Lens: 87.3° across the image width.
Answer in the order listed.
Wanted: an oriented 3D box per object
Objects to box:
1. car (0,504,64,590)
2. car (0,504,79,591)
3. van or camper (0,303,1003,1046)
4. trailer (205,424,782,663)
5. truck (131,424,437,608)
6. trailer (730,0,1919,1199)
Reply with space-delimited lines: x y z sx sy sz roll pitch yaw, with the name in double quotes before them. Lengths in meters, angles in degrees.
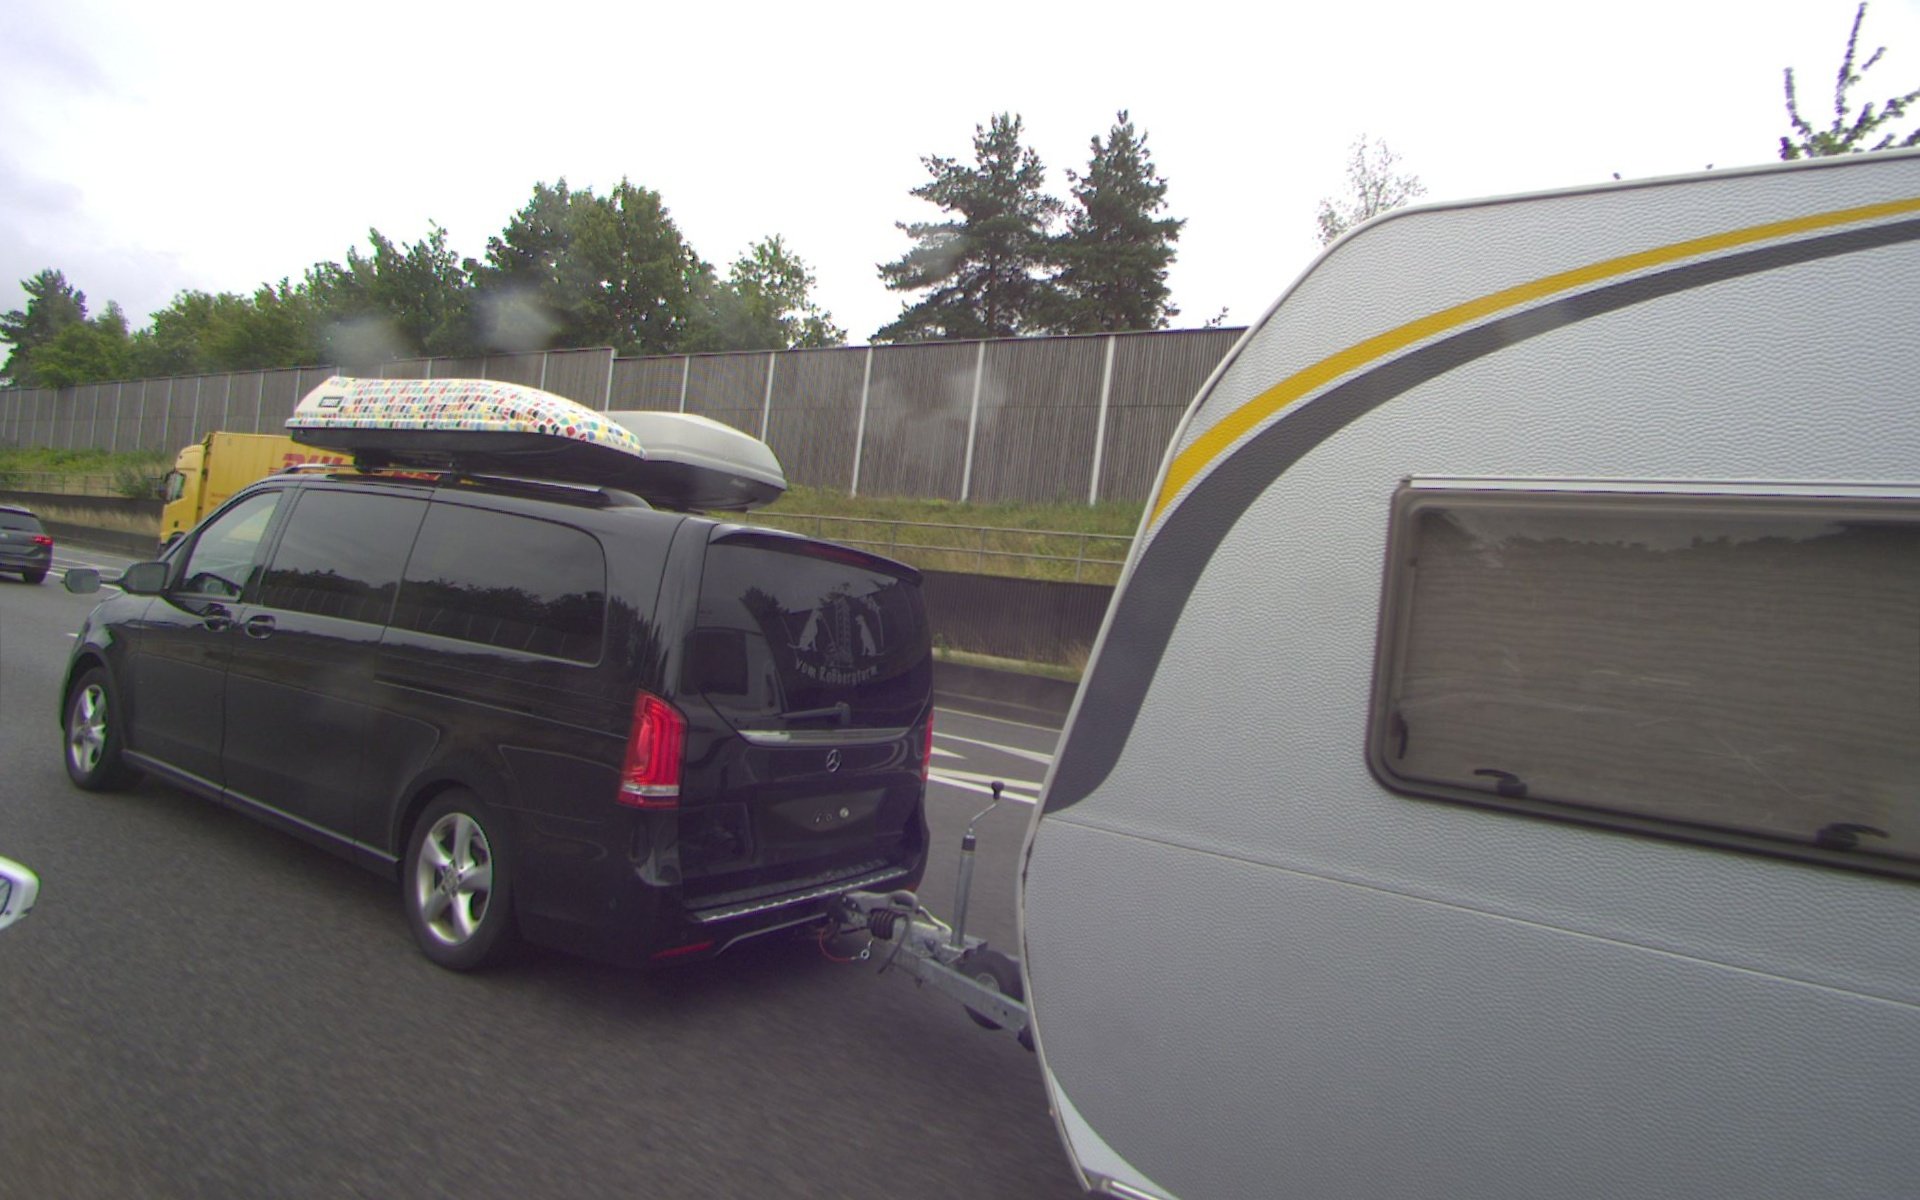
"car" -19.304 -1.201 19.412 4.396 1.473 1.667 6 -2 31
"car" -19.589 -1.256 19.716 5.201 1.443 1.944 7 -2 32
"van or camper" -2.781 0.072 5.366 5.585 2.295 1.894 6 -2 32
"trailer" -11.388 -1.645 22.671 16.407 3.998 2.657 6 -2 31
"truck" -18.101 -2.342 26.669 9.170 4.003 2.692 6 -2 31
"trailer" 3.407 0.640 1.777 7.386 2.672 2.727 7 -2 32
